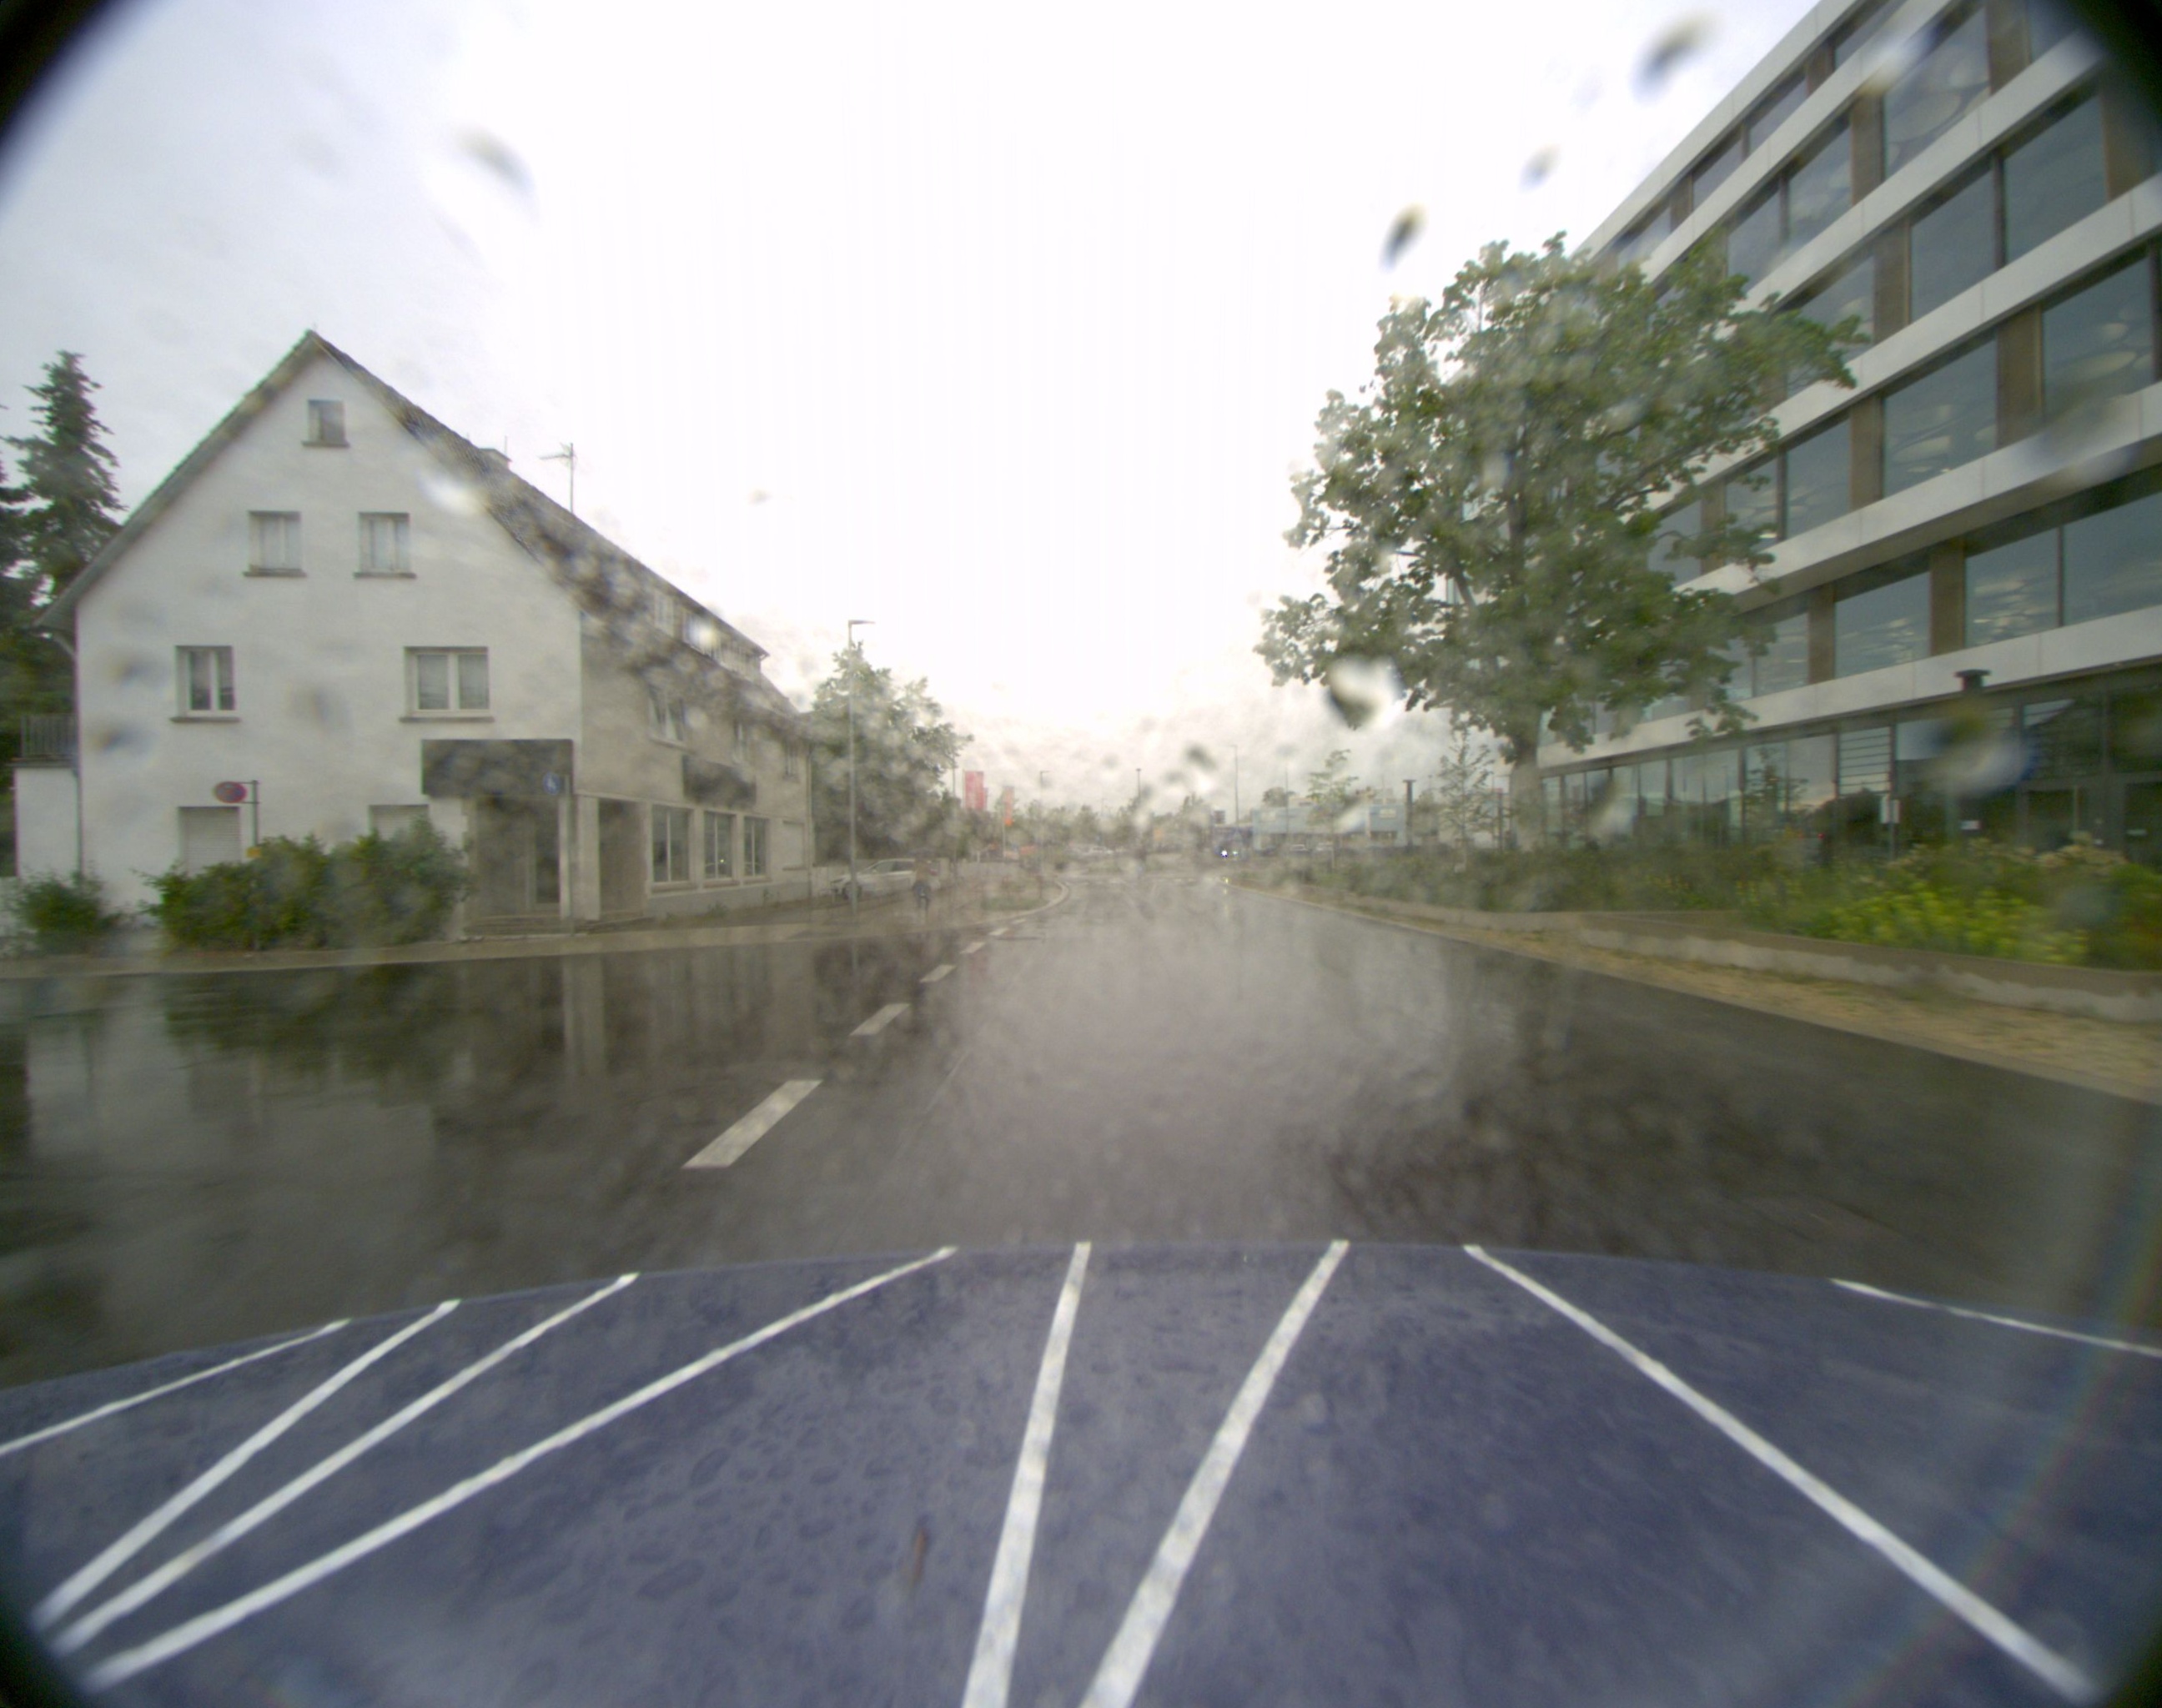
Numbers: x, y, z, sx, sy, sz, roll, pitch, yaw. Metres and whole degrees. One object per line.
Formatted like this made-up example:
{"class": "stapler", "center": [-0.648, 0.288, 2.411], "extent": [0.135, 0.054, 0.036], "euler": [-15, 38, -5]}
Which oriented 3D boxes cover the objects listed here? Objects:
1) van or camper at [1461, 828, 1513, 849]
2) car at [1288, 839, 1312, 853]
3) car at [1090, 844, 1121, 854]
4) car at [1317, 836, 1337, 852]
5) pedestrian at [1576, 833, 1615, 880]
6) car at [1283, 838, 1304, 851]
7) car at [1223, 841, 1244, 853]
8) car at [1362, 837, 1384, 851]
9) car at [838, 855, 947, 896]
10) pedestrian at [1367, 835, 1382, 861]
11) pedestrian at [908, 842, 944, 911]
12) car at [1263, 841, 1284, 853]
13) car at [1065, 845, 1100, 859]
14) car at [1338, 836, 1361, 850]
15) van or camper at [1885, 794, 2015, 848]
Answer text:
{"class": "van or camper", "center": [40.520, -1.509, 75.973], "extent": [4.372, 1.751, 1.891], "euler": [-4, 0, 24]}
{"class": "car", "center": [23.303, -0.861, 80.831], "extent": [1.884, 1.288, 4.006], "euler": [-4, 0, 23]}
{"class": "car", "center": [3.577, -0.704, 109.238], "extent": [3.990, 1.433, 2.003], "euler": [-2, 0, 24]}
{"class": "car", "center": [26.034, -1.033, 80.352], "extent": [1.790, 1.543, 4.005], "euler": [-2, 0, 20]}
{"class": "pedestrian", "center": [19.319, 0.091, 28.555], "extent": [0.726, 1.694, 0.956], "euler": [-5, 2, 3]}
{"class": "car", "center": [26.251, -1.190, 93.807], "extent": [1.884, 1.477, 4.006], "euler": [-4, 0, 23]}
{"class": "car", "center": [21.510, -0.981, 107.055], "extent": [1.917, 1.521, 4.007], "euler": [-3, 0, 26]}
{"class": "car", "center": [30.127, -1.027, 78.355], "extent": [1.884, 1.288, 4.006], "euler": [-4, 0, 23]}
{"class": "car", "center": [-7.671, 0.868, 31.022], "extent": [4.145, 1.571, 1.997], "euler": [1, 0, -15]}
{"class": "pedestrian", "center": [22.240, -0.457, 57.612], "extent": [0.891, 2.002, 0.933], "euler": [-2, 1, 28]}
{"class": "pedestrian", "center": [-4.631, 0.661, 22.805], "extent": [0.861, 2.002, 1.194], "euler": [1, 0, -3]}
{"class": "car", "center": [23.921, -0.919, 94.414], "extent": [1.884, 1.288, 4.006], "euler": [-4, 0, 23]}
{"class": "car", "center": [0.158, -0.262, 99.730], "extent": [4.095, 1.696, 2.004], "euler": [-2, 0, 27]}
{"class": "car", "center": [28.020, -1.203, 79.276], "extent": [1.884, 1.288, 4.006], "euler": [-4, 0, 23]}
{"class": "van or camper", "center": [55.697, -2.042, 48.844], "extent": [5.091, 3.070, 2.003], "euler": [-3, 0, 20]}
